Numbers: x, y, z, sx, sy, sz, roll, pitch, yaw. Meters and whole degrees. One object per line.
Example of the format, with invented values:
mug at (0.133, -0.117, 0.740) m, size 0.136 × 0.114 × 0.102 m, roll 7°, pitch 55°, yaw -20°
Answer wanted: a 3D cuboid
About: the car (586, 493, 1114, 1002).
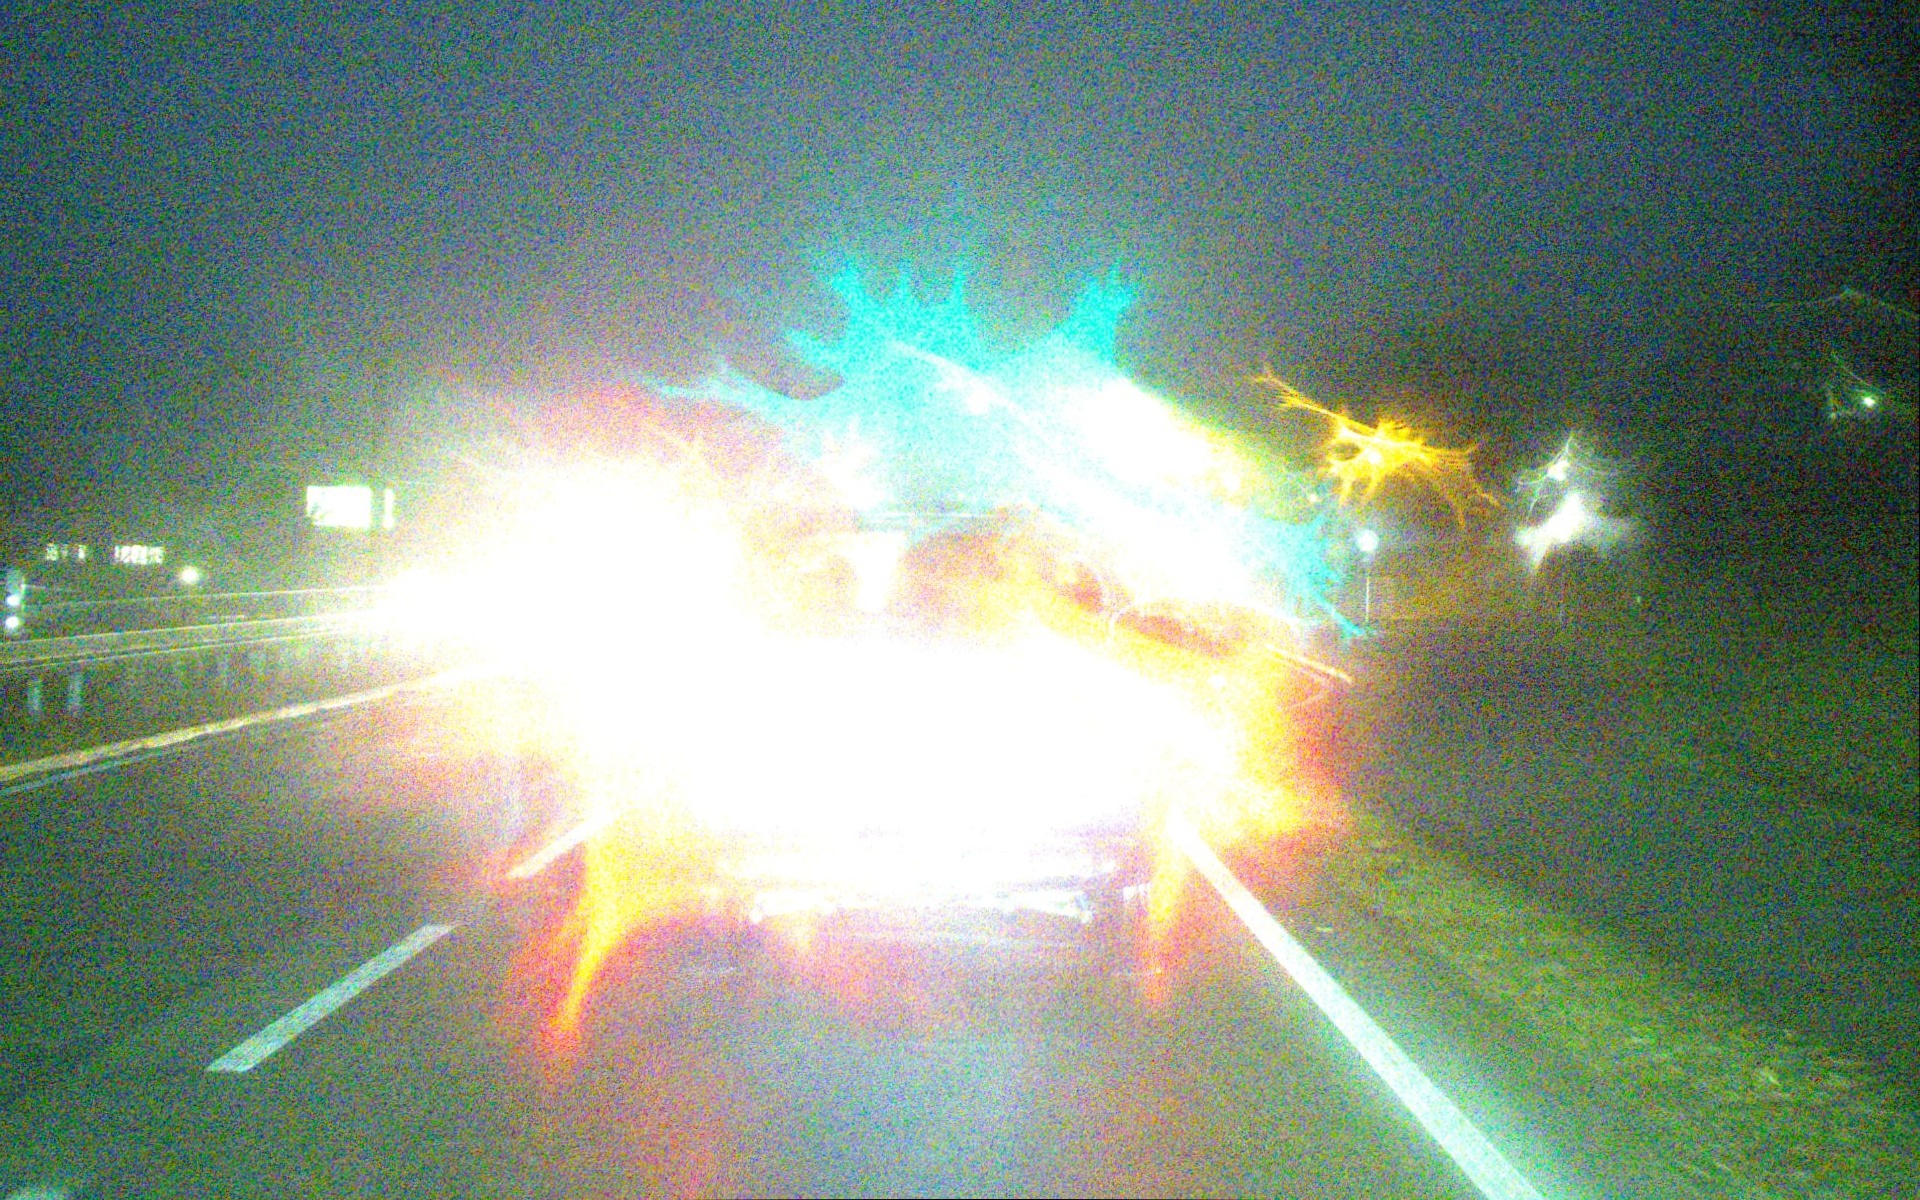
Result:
car at (-0.375, 0.487, 13.633) m, size 1.775 × 1.706 × 4.000 m, roll 0°, pitch 0°, yaw 0°
